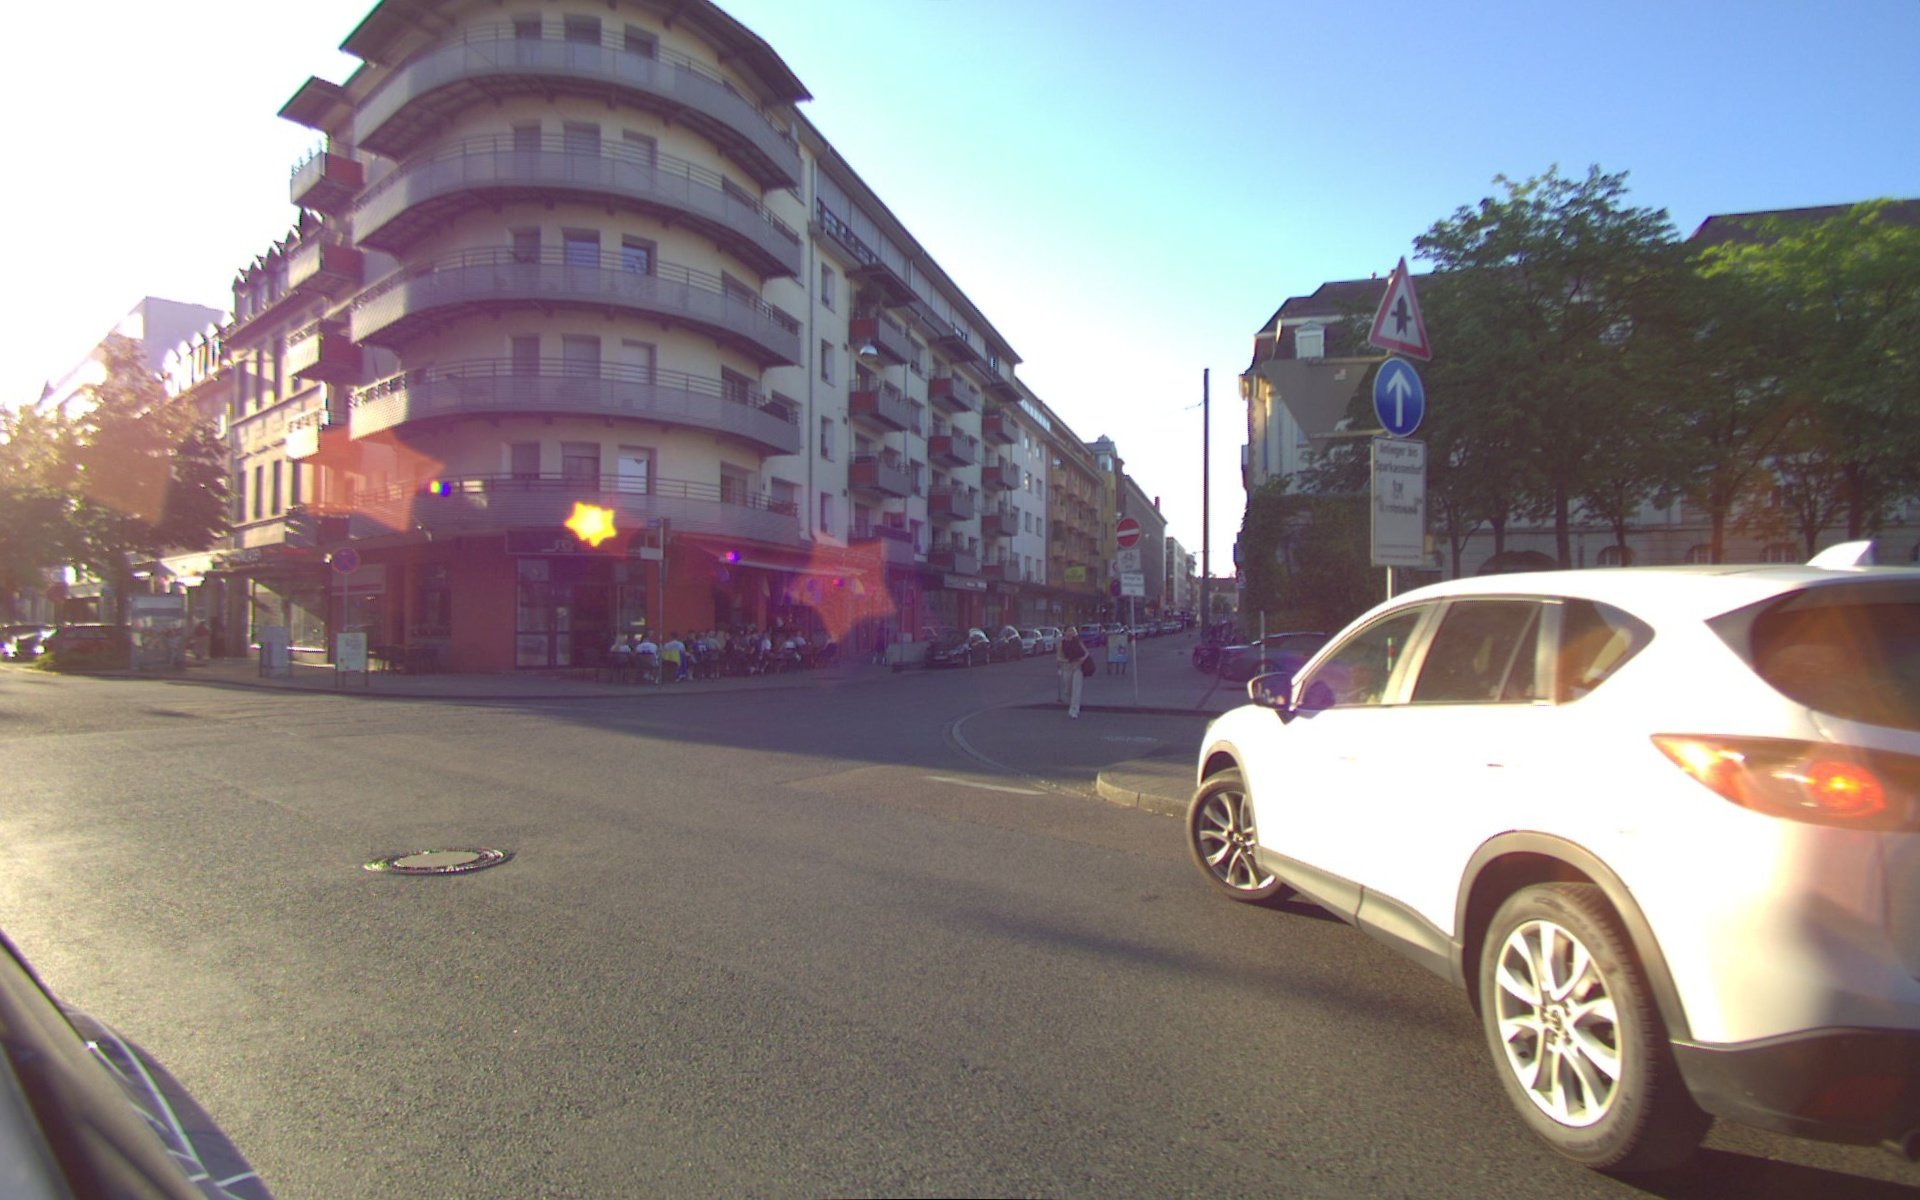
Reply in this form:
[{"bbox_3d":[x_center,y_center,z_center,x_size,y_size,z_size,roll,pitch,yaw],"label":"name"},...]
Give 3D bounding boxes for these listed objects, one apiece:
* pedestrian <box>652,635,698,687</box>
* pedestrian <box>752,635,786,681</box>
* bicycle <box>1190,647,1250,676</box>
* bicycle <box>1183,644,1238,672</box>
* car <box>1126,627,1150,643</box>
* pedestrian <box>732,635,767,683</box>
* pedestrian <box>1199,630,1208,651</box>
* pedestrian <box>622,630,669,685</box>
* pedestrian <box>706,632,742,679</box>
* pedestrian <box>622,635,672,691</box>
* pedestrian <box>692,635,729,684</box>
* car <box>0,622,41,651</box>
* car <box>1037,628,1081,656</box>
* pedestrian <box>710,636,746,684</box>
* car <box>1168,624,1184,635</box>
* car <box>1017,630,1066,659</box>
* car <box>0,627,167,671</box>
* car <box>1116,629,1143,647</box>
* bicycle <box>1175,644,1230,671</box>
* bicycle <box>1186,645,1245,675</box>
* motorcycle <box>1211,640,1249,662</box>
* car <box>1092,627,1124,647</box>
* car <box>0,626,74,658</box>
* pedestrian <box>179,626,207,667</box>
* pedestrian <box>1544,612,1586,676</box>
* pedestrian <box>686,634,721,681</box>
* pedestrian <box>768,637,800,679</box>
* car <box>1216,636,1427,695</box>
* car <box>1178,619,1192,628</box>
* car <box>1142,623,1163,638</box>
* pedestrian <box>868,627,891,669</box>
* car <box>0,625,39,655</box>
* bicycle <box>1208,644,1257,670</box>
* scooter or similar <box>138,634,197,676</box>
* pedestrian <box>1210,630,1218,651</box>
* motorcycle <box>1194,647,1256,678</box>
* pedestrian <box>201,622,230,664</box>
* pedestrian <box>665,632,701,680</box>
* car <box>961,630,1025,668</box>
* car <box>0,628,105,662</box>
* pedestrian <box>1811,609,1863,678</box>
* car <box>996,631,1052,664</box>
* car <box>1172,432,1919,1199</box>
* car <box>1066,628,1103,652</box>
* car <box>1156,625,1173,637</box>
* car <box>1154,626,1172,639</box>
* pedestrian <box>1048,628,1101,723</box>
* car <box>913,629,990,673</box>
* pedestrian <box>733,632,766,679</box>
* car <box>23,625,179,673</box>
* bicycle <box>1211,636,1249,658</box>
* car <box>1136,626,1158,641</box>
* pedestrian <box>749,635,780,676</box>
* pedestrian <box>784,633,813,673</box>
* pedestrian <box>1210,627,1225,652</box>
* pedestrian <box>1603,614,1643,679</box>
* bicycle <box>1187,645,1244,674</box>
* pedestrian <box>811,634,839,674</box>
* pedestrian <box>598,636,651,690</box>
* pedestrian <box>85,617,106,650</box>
[{"bbox_3d":[-7.072,1.502,25.116,0.827,1.256,0.715,1,-1,34],"label":"pedestrian"},{"bbox_3d":[-5.535,1.658,29.296,0.699,1.297,0.615,1,-1,31],"label":"pedestrian"},{"bbox_3d":[8.268,1.952,32.218,1.775,0.887,0.512,-1,-2,-10],"label":"bicycle"},{"bbox_3d":[8.560,1.991,34.613,1.785,0.930,0.509,-1,-2,10],"label":"bicycle"},{"bbox_3d":[18.304,3.525,103.798,1.954,1.608,3.977,-1,-2,17],"label":"car"},{"bbox_3d":[-5.909,1.648,28.430,0.699,1.297,0.615,1,-1,31],"label":"pedestrian"},{"bbox_3d":[16.410,2.747,68.211,0.537,1.407,0.383,-1,-2,13],"label":"pedestrian"},{"bbox_3d":[-7.992,1.445,25.727,0.827,1.358,0.740,1,-1,34],"label":"pedestrian"},{"bbox_3d":[-6.771,1.575,29.042,0.699,1.297,0.650,1,-1,31],"label":"pedestrian"},{"bbox_3d":[-7.396,1.476,23.940,0.746,1.283,0.820,1,-1,32],"label":"pedestrian"},{"bbox_3d":[-6.637,1.572,26.962,0.699,1.256,0.615,1,-1,31],"label":"pedestrian"},{"bbox_3d":[-55.337,2.104,57.558,1.888,1.608,4.362,-2,-1,39],"label":"car"},{"bbox_3d":[6.062,2.524,61.595,1.954,1.608,3.977,-1,-2,17],"label":"car"},{"bbox_3d":[-6.338,1.629,27.612,0.699,1.256,0.615,1,-1,31],"label":"pedestrian"},{"bbox_3d":[31.749,4.280,148.897,1.954,1.608,3.977,-1,-2,17],"label":"car"},{"bbox_3d":[4.647,2.483,57.312,1.954,1.608,3.977,-1,-2,17],"label":"car"},{"bbox_3d":[-32.830,1.794,38.025,1.819,1.418,4.525,-2,-1,39],"label":"car"},{"bbox_3d":[15.805,3.517,94.421,1.954,1.608,3.977,-1,-1,17],"label":"car"},{"bbox_3d":[8.513,2.011,35.524,1.791,0.930,0.507,-2,-2,20],"label":"bicycle"},{"bbox_3d":[8.342,1.963,33.070,1.783,0.930,0.509,-1,-2,7],"label":"bicycle"},{"bbox_3d":[13.435,2.542,50.403,1.791,1.087,0.507,-2,-2,20],"label":"motorcycle"},{"bbox_3d":[12.092,2.995,82.415,1.954,1.608,3.977,-1,-2,17],"label":"car"},{"bbox_3d":[-46.427,2.072,50.026,1.803,1.455,3.702,-1,-1,38],"label":"car"},{"bbox_3d":[-30.305,1.831,39.992,0.875,1.539,0.726,0,0,41],"label":"pedestrian"},{"bbox_3d":[15.491,1.123,25.923,0.763,1.598,0.686,1,-1,17],"label":"pedestrian"},{"bbox_3d":[-7.106,1.587,28.044,0.699,1.256,0.615,1,-1,31],"label":"pedestrian"},{"bbox_3d":[-5.323,1.733,30.593,0.698,1.234,0.616,1,-1,28],"label":"pedestrian"},{"bbox_3d":[8.573,1.548,24.441,4.478,1.328,1.994,-1,-2,10],"label":"car"},{"bbox_3d":[37.870,3.996,170.550,1.954,1.608,3.977,-1,-2,17],"label":"car"},{"bbox_3d":[21.751,3.465,114.359,1.954,1.608,3.977,-1,-2,17],"label":"car"},{"bbox_3d":[-2.891,1.716,36.376,0.616,1.480,0.698,1,-1,14],"label":"pedestrian"},{"bbox_3d":[-49.887,2.074,52.072,1.714,1.513,3.521,-1,-1,39],"label":"car"},{"bbox_3d":[10.006,2.086,37.188,0.502,0.930,1.808,0,-2,-36],"label":"bicycle"},{"bbox_3d":[-24.782,1.699,31.660,0.525,1.235,1.385,-1,-1,37],"label":"scooter or similar"},{"bbox_3d":[17.079,2.728,68.008,0.513,1.407,0.397,-1,-2,13],"label":"pedestrian"},{"bbox_3d":[8.192,1.930,31.296,1.774,0.887,0.512,-1,-2,-13],"label":"motorcycle"},{"bbox_3d":[-29.875,1.720,40.603,0.875,1.620,0.764,0,0,41],"label":"pedestrian"},{"bbox_3d":[-7.519,1.510,27.487,0.699,1.256,0.615,1,-1,31],"label":"pedestrian"},{"bbox_3d":[1.543,2.167,45.651,1.954,1.608,3.977,-1,-2,17],"label":"car"},{"bbox_3d":[-42.082,2.029,46.471,1.881,1.414,4.067,-2,-1,38],"label":"car"},{"bbox_3d":[20.871,1.016,24.096,0.648,1.598,0.787,1,-1,16],"label":"pedestrian"},{"bbox_3d":[3.245,2.364,51.000,1.954,1.608,3.977,-1,-2,17],"label":"car"},{"bbox_3d":[2.516,0.644,4.092,1.969,1.774,4.471,0,-2,-6],"label":"car"},{"bbox_3d":[8.866,2.808,71.895,1.954,1.608,3.977,-1,-2,17],"label":"car"},{"bbox_3d":[28.101,4.208,138.857,1.954,1.608,3.977,-1,-2,17],"label":"car"},{"bbox_3d":[26.569,4.255,132.545,1.954,1.608,3.977,-1,-2,17],"label":"car"},{"bbox_3d":[1.983,1.286,17.462,0.760,1.579,0.896,-1,-2,15],"label":"pedestrian"},{"bbox_3d":[-0.278,1.966,39.798,1.954,1.608,3.977,-1,-2,17],"label":"car"},{"bbox_3d":[-6.251,1.632,30.065,0.699,1.343,0.615,1,-1,31],"label":"pedestrian"},{"bbox_3d":[-30.820,1.726,36.391,1.883,1.548,4.031,-2,-1,40],"label":"car"},{"bbox_3d":[13.641,2.361,51.201,1.793,1.087,0.507,-2,-2,23],"label":"bicycle"},{"bbox_3d":[20.190,3.631,109.145,1.954,1.608,3.977,-1,-2,17],"label":"car"},{"bbox_3d":[-6.129,1.738,31.705,0.698,1.234,0.616,1,-1,28],"label":"pedestrian"},{"bbox_3d":[-5.370,1.750,33.665,0.696,1.297,0.618,1,-1,19],"label":"pedestrian"},{"bbox_3d":[16.934,2.603,66.551,0.837,1.610,0.729,-1,-2,29],"label":"pedestrian"},{"bbox_3d":[16.689,1.155,25.491,0.696,1.598,0.618,1,-1,17],"label":"pedestrian"},{"bbox_3d":[8.492,1.996,33.713,1.785,0.930,0.509,-1,-2,10],"label":"bicycle"},{"bbox_3d":[-4.504,1.785,33.698,0.696,1.297,0.618,1,-1,19],"label":"pedestrian"},{"bbox_3d":[-8.024,1.494,24.222,0.765,1.251,0.890,1,-1,32],"label":"pedestrian"},{"bbox_3d":[-47.058,1.811,55.079,0.875,1.734,0.764,0,0,41],"label":"pedestrian"}]
